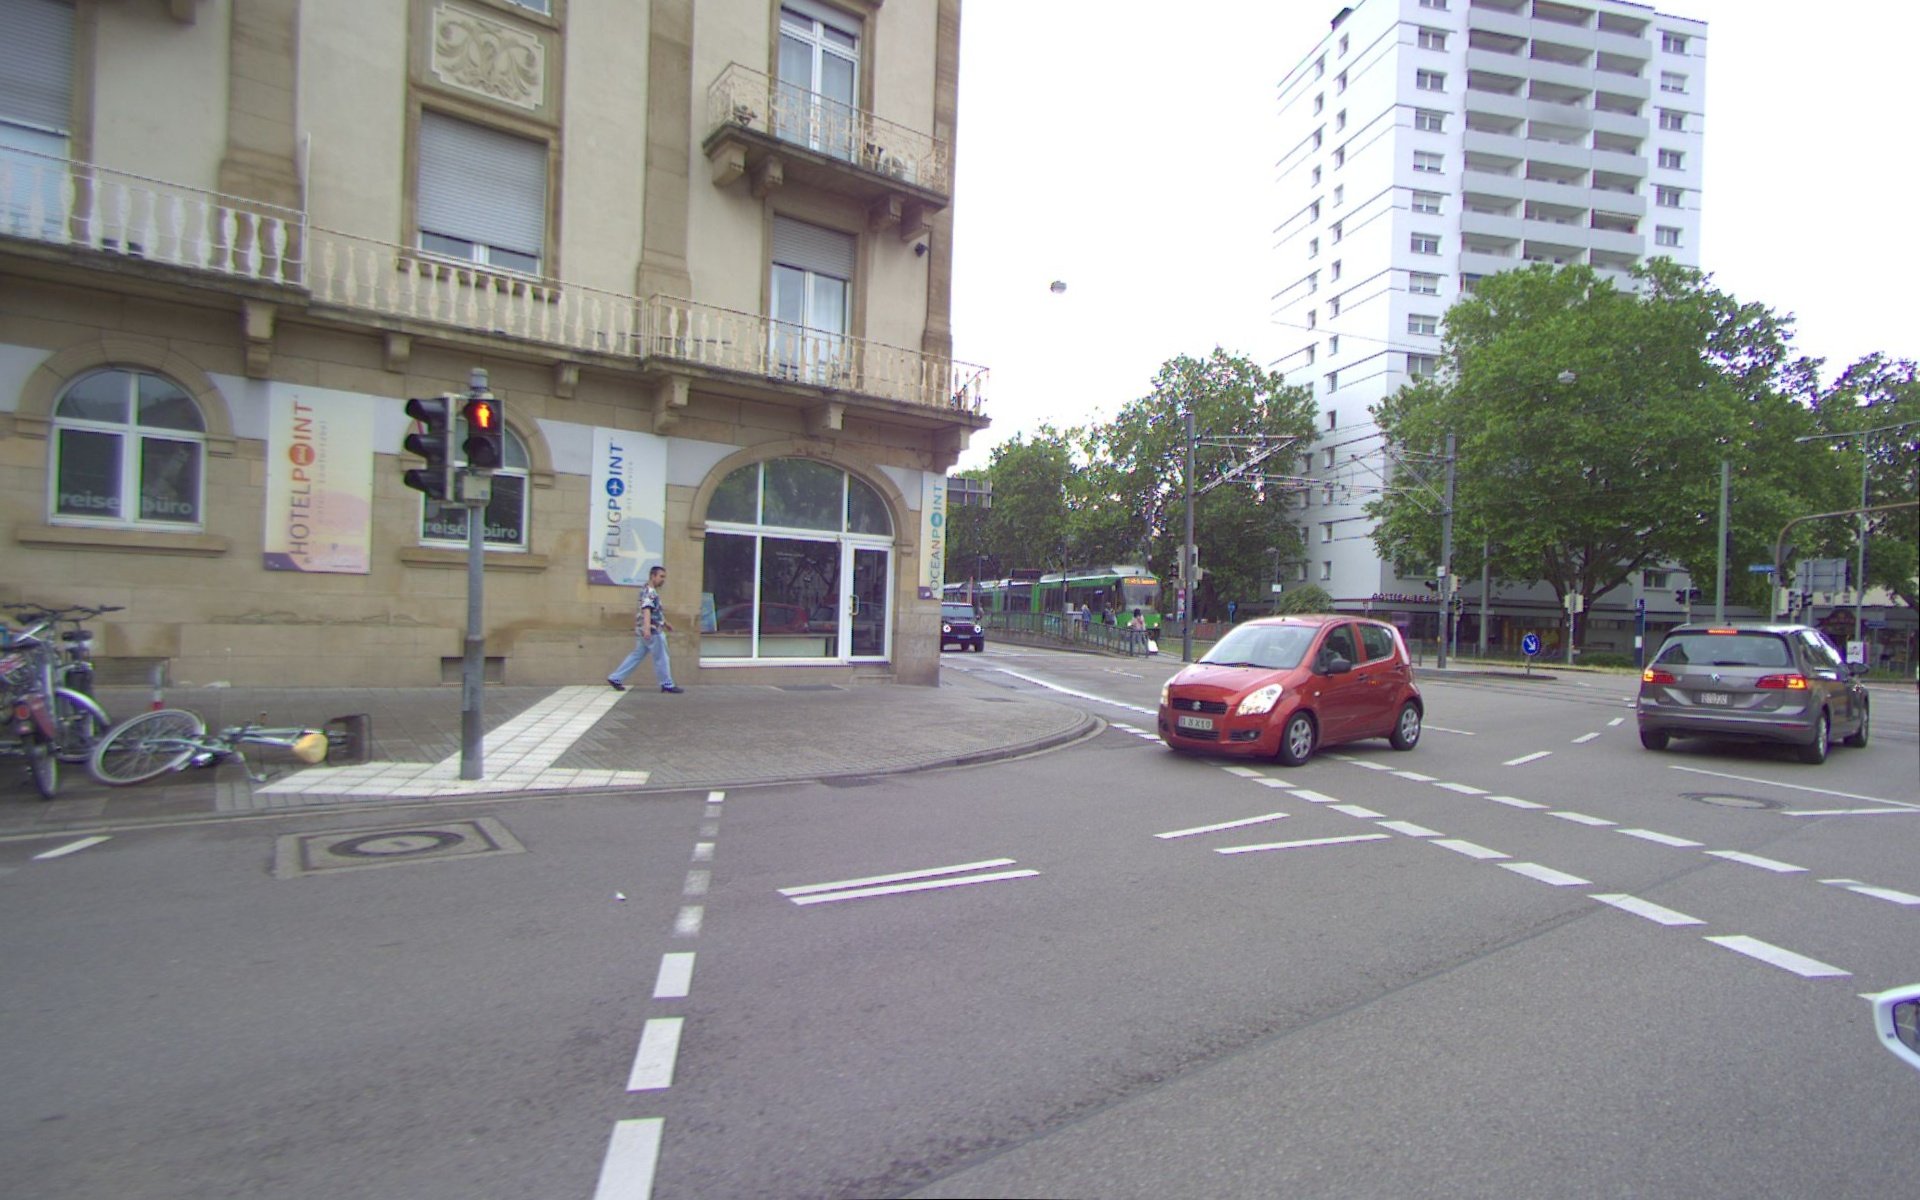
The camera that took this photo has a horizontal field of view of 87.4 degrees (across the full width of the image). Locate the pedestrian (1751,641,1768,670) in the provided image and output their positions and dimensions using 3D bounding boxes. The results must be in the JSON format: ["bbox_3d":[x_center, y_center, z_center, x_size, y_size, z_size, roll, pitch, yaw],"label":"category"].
[{"bbox_3d":[44.941,3.114,56.452,0.612,1.565,0.421,2,-1,-13],"label":"pedestrian"}]

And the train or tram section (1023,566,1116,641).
[{"bbox_3d":[5.980,0.217,56.398,2.639,3.811,8.280,2,-1,-12],"label":"train or tram section"}]

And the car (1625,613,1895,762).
[{"bbox_3d":[10.040,0.995,12.518,3.964,1.545,1.719,2,-1,-37],"label":"car"}]

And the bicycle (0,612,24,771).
[{"bbox_3d":[-7.325,0.716,7.384,0.438,1.049,1.872,2,5,-37],"label":"bicycle"}]

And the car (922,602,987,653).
[{"bbox_3d":[-0.263,1.098,41.499,1.662,1.939,3.987,2,-1,-15],"label":"car"}]

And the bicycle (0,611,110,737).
[{"bbox_3d":[-8.430,0.612,8.383,1.977,1.041,0.498,2,-1,-36],"label":"bicycle"}]

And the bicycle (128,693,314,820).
[{"bbox_3d":[-5.567,1.116,7.588,1.019,0.451,1.872,0,6,-37],"label":"bicycle"}]

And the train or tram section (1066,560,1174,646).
[{"bbox_3d":[7.606,0.173,48.815,2.639,3.811,7.245,2,-1,-12],"label":"train or tram section"}]

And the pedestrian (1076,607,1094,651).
[{"bbox_3d":[5.490,1.256,43.974,0.605,1.889,0.480,2,0,-12],"label":"pedestrian"}]

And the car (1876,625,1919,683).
[{"bbox_3d":[33.125,1.843,33.818,5.163,1.850,1.858,2,-1,-30],"label":"car"}]

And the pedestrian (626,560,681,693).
[{"bbox_3d":[-4.285,0.371,14.018,0.545,1.809,0.563,2,-1,-35],"label":"pedestrian"}]

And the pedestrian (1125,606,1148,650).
[{"bbox_3d":[6.628,1.035,37.686,0.578,1.624,0.732,2,0,-12],"label":"pedestrian"}]

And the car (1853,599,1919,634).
[{"bbox_3d":[50.546,0.912,53.578,3.925,1.728,1.998,2,-1,26],"label":"car"}]

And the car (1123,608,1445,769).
[{"bbox_3d":[3.887,0.932,11.743,3.967,1.545,1.718,2,-1,-40],"label":"car"}]

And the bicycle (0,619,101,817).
[{"bbox_3d":[-6.571,0.777,7.246,0.438,1.049,1.872,2,5,-37],"label":"bicycle"}]

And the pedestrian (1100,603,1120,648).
[{"bbox_3d":[6.391,1.092,42.841,0.578,1.889,0.732,2,0,-12],"label":"pedestrian"}]
